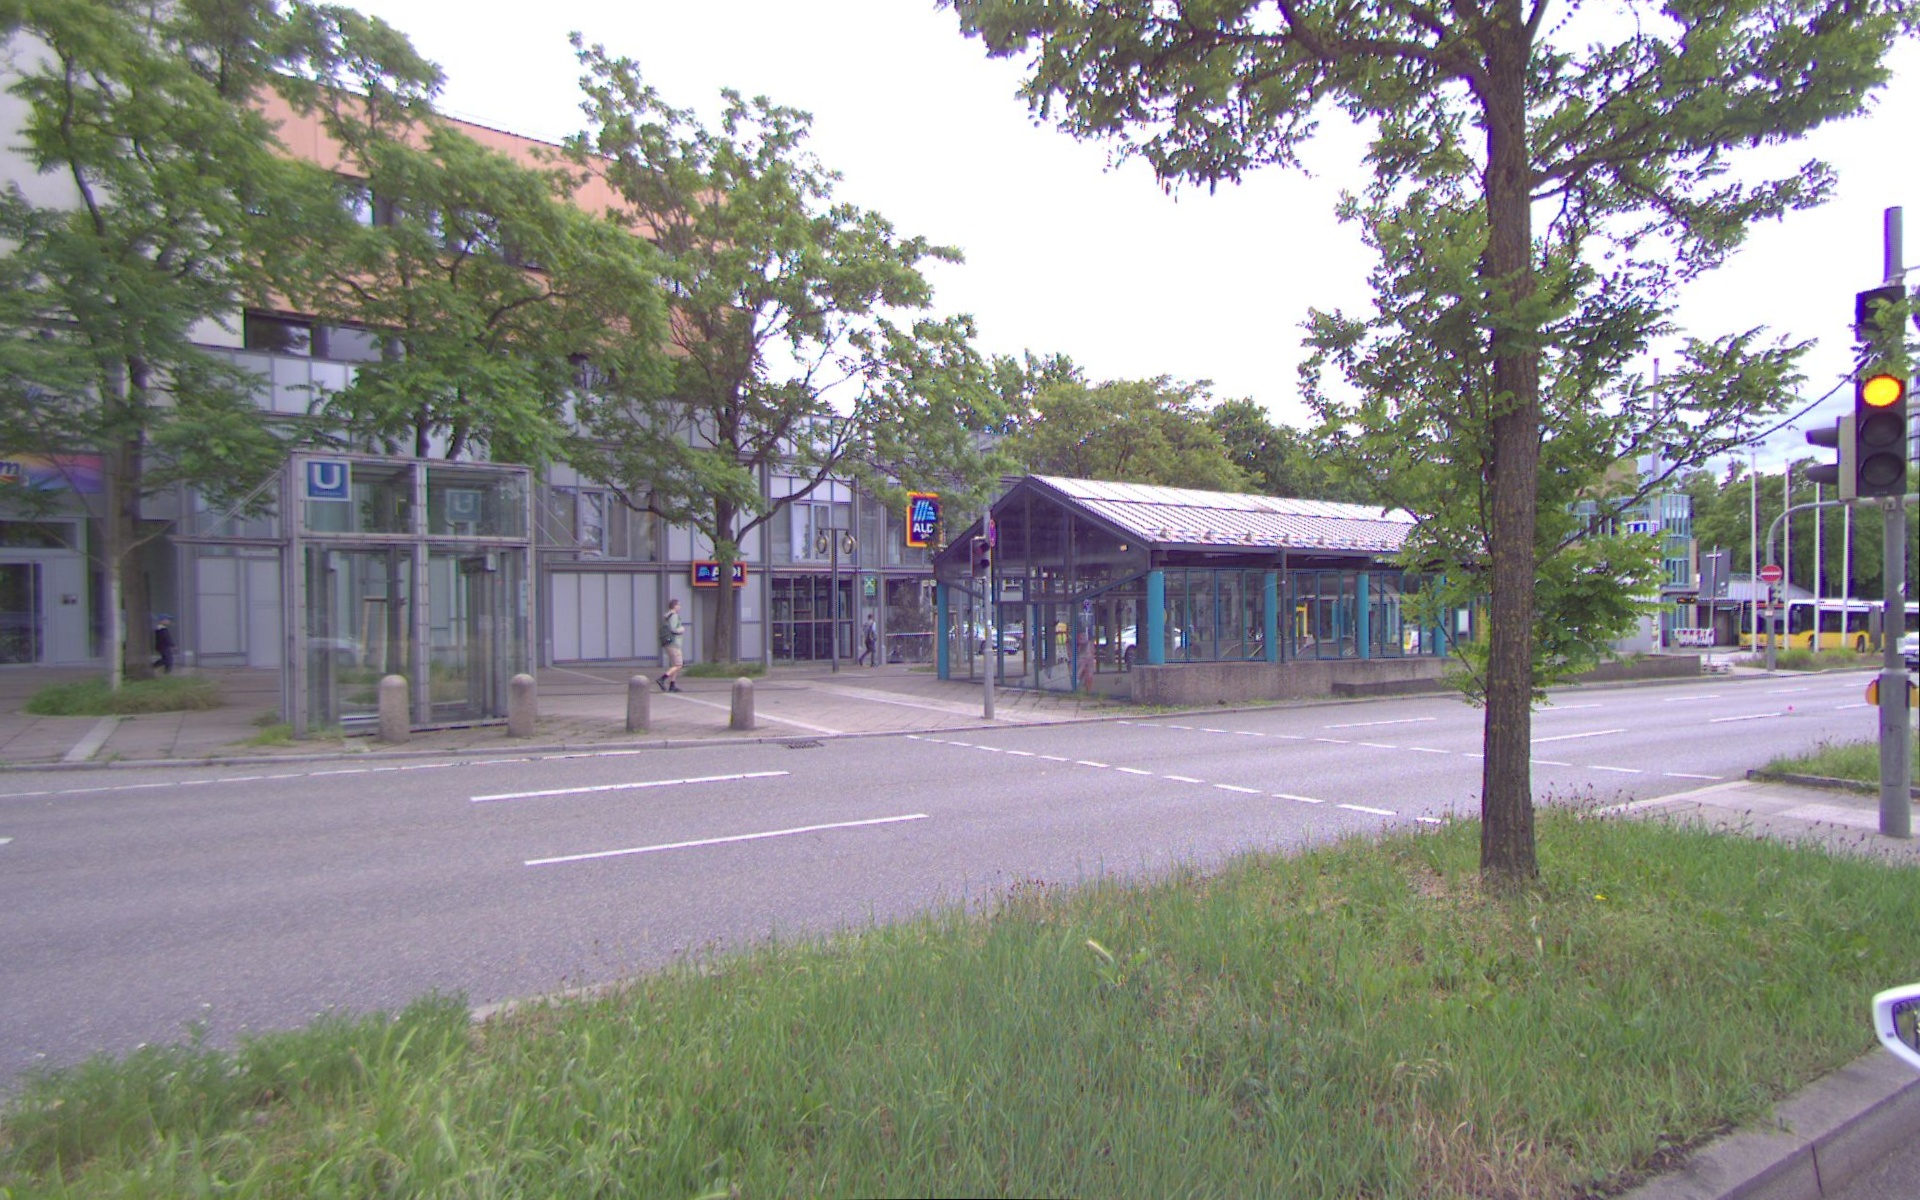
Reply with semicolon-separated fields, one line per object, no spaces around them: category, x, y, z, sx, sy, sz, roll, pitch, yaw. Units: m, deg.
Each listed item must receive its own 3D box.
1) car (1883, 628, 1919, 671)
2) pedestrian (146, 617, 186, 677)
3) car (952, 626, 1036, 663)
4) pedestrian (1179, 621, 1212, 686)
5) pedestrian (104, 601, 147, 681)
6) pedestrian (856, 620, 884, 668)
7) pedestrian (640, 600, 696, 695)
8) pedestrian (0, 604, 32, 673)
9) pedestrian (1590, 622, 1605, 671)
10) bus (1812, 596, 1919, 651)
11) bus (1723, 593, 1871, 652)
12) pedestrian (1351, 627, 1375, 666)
car;37.553;1.913;39.168;3.316;1.599;1.673;1;-1;-36
pedestrian;-16.313;0.962;20.628;0.617;1.197;0.417;1;-1;-40
car;1.654;2.190;50.379;1.769;1.710;4.838;1;-1;-33
pedestrian;6.508;1.466;27.740;0.749;1.786;0.525;1;-1;-36
pedestrian;-16.327;0.795;19.665;0.617;1.523;0.562;1;-1;-40
pedestrian;-2.881;1.402;32.185;0.748;1.499;0.525;1;-1;-36
pedestrian;-5.838;0.944;20.122;0.530;1.857;0.916;0;-1;44
pedestrian;-19.490;0.775;20.523;0.689;1.393;0.578;1;-1;-37
pedestrian;21.010;1.522;33.095;0.412;1.612;0.356;0;-1;31
bus;57.923;1.543;63.771;7.771;3.313;2.980;1;-1;-26
bus;49.926;1.381;59.830;10.036;3.293;2.980;1;-1;-26
pedestrian;17.041;1.953;42.437;0.651;1.591;0.633;2;0;-20
